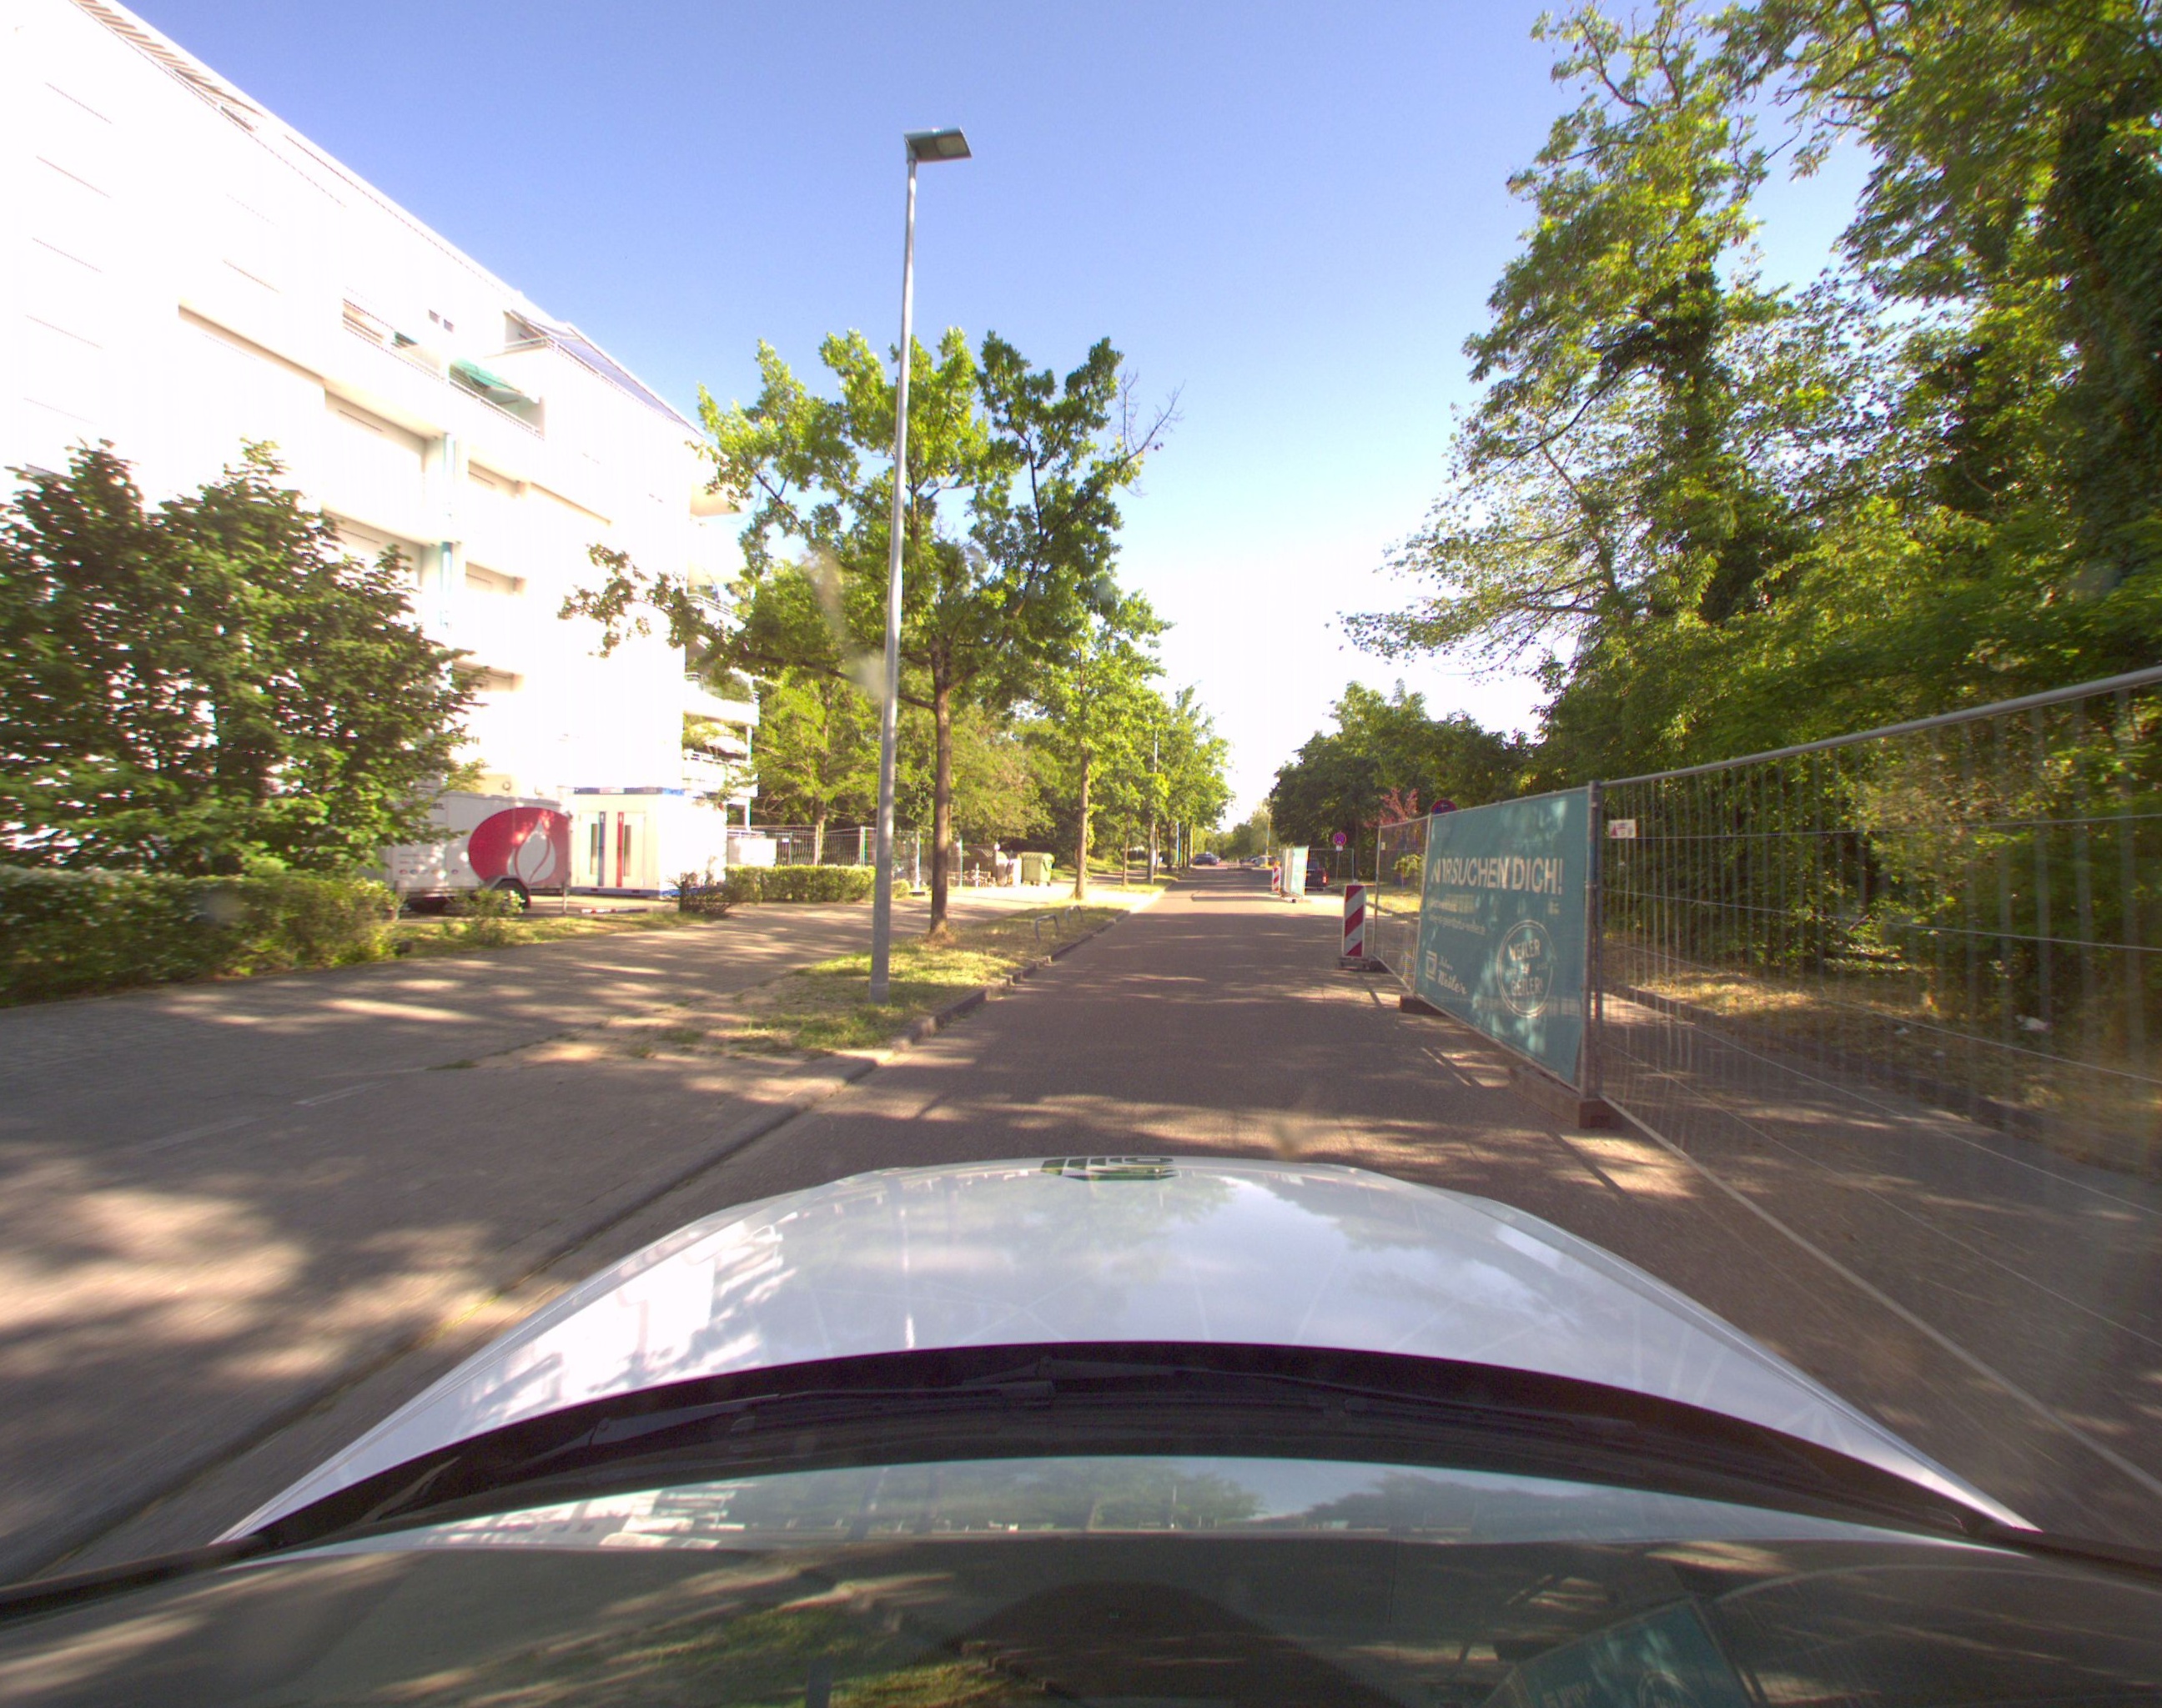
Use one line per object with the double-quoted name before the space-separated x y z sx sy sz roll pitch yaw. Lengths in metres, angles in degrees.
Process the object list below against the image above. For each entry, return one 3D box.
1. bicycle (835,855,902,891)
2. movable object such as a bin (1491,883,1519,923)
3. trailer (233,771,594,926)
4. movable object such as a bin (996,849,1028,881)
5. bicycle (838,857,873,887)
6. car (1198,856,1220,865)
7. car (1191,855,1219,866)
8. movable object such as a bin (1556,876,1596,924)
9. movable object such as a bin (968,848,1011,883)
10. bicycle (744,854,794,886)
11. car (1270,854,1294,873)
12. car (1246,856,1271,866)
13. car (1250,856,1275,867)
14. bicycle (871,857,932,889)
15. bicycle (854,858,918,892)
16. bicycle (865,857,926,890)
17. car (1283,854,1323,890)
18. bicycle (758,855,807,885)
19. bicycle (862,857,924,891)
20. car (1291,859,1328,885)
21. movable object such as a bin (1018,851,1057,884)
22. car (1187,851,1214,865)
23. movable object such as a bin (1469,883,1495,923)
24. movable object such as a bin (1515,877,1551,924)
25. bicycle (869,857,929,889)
"bicycle" -6.375 0.580 24.480 1.864 1.027 0.400 1 -1 -3
"movable object such as a bin" 9.433 1.077 18.120 0.410 0.870 0.486 -1 -1 11
"trailer" -10.827 -0.086 13.718 1.851 2.120 4.362 3 0 14
"movable object such as a bin" -3.209 0.514 37.757 1.146 1.435 1.263 1 0 -23
"bicycle" -7.879 0.627 28.561 0.396 1.027 1.706 1 -1 13
"car" 24.284 1.255 154.504 4.079 1.576 1.965 3 0 12
"car" 21.121 1.069 138.459 4.285 1.576 2.055 3 0 17
"movable object such as a bin" 10.727 0.992 17.655 0.559 0.999 0.610 -1 -1 11
"movable object such as a bin" -3.935 0.485 34.980 1.257 1.435 1.334 1 0 38
"bicycle" -10.715 0.543 27.962 1.682 1.027 0.402 1 -1 16
"car" 20.612 0.958 83.623 1.781 1.785 4.566 3 0 7
"car" 29.435 1.163 135.252 3.809 1.576 1.696 3 0 17
"car" 29.559 1.229 132.352 3.809 1.576 1.696 3 0 17
"bicycle" -5.985 0.622 27.236 1.910 1.027 0.400 1 -1 -3
"bicycle" -6.072 0.651 25.385 1.850 1.027 0.400 1 -1 -3
"bicycle" -5.980 0.627 26.331 1.854 1.027 0.400 1 -1 -3
"car" 11.439 0.884 42.055 1.797 1.651 4.438 3 0 14
"bicycle" -10.485 0.549 28.610 1.682 1.027 0.402 1 -1 16
"bicycle" -5.959 0.632 25.847 1.833 1.027 0.400 1 -1 -3
"car" 13.555 1.022 48.465 1.651 1.375 4.167 3 0 10
"movable object such as a bin" -1.912 0.587 35.853 1.257 1.435 1.188 1 0 26
"car" 24.016 0.801 163.667 5.174 2.621 2.297 3 0 5
"movable object such as a bin" 8.950 1.083 18.192 0.410 0.870 0.486 -1 -1 11
"movable object such as a bin" 9.904 1.003 17.846 0.515 0.999 0.610 -1 -1 11
"bicycle" -5.975 0.628 26.760 1.833 1.027 0.400 1 -1 -3
